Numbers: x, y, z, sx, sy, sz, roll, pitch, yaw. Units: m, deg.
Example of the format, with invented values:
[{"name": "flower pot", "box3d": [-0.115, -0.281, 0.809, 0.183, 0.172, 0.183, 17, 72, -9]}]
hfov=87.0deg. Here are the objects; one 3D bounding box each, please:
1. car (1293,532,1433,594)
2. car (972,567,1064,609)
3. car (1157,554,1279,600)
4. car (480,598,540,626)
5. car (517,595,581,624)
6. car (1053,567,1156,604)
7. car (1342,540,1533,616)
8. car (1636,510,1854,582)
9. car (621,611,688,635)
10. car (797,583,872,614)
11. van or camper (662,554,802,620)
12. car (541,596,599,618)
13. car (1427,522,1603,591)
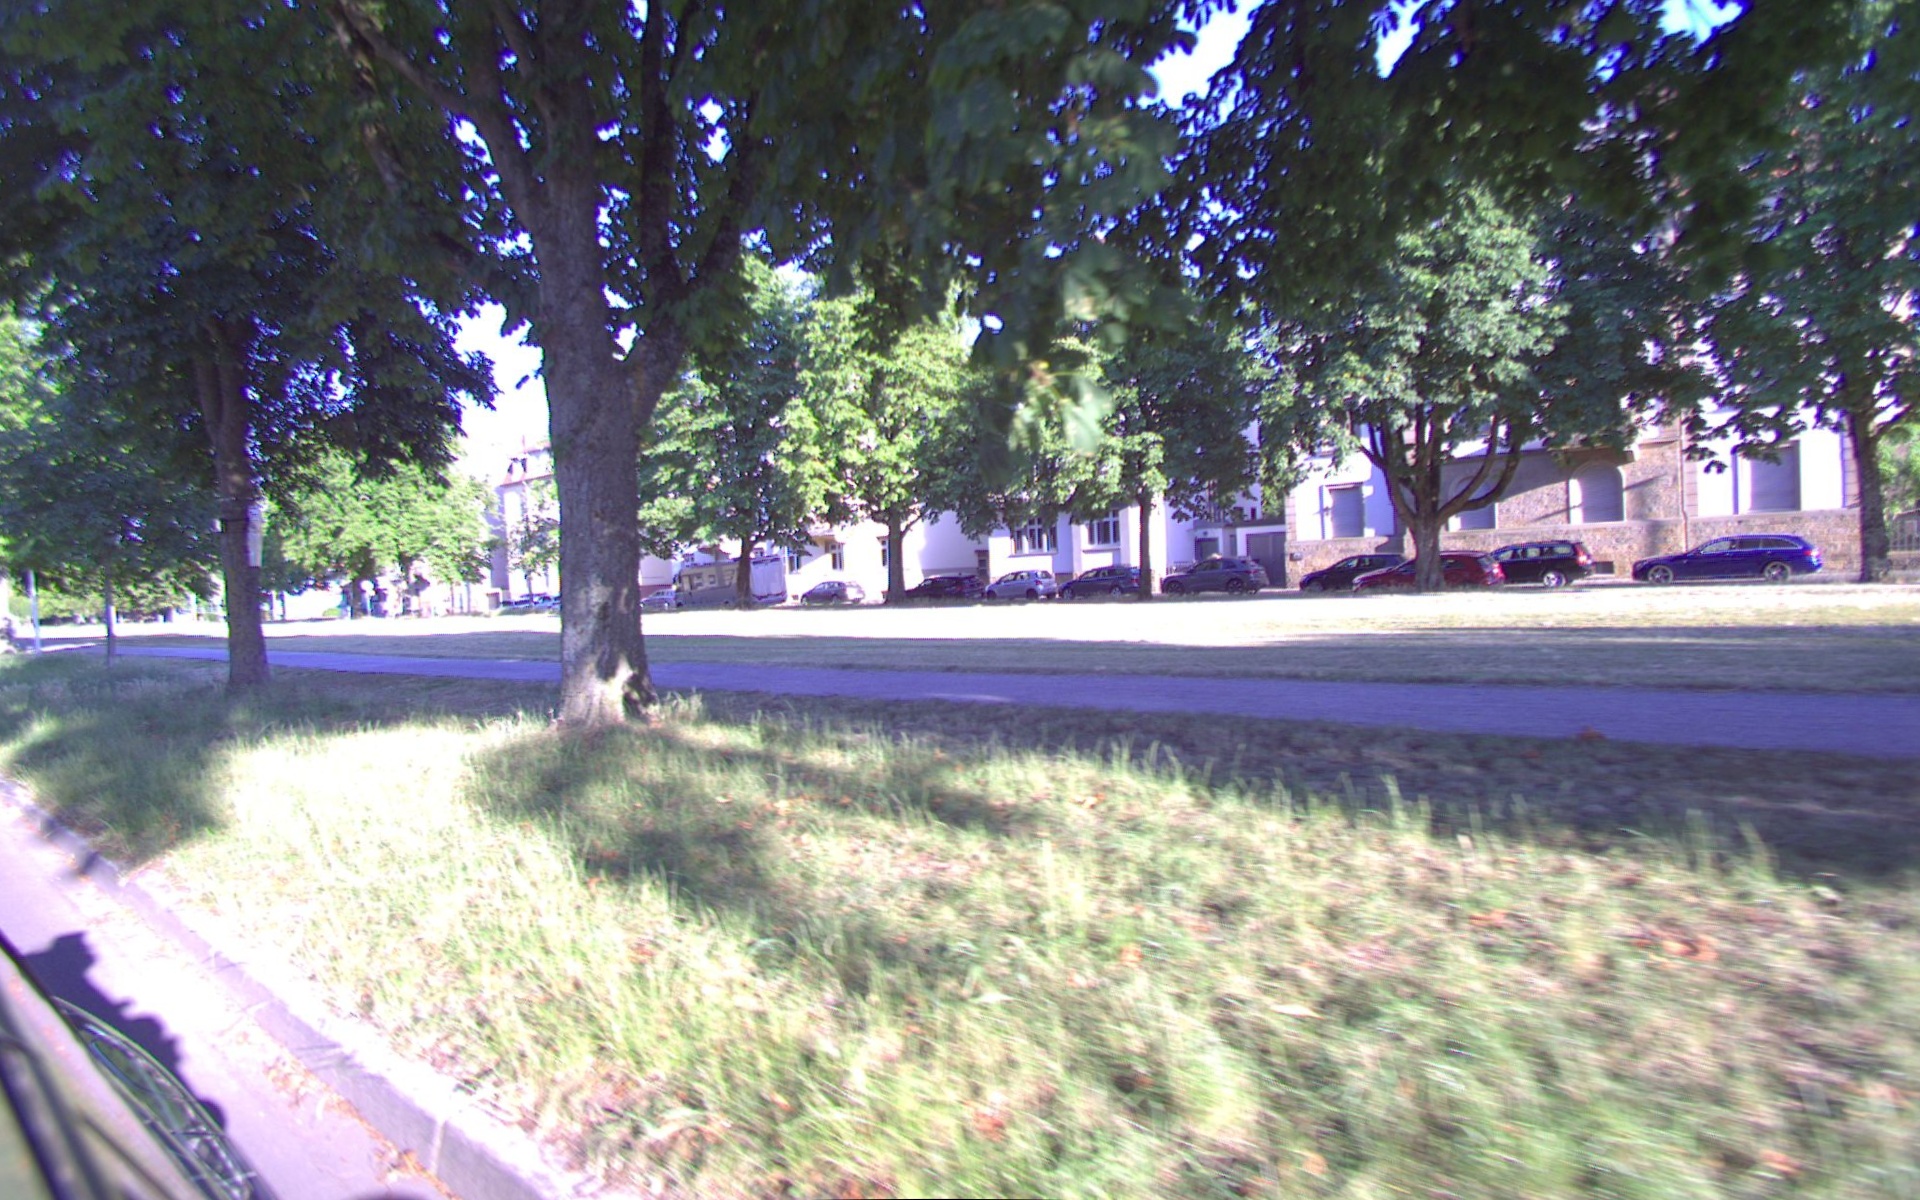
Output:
[{"name": "car", "box3d": [15.023, -1.370, 37.832, 4.425, 2.028, 1.974, -2, 2, 40]}, {"name": "car", "box3d": [2.764, -0.556, 48.726, 4.000, 1.747, 1.972, -2, 1, 43]}, {"name": "car", "box3d": [10.626, -0.941, 41.858, 4.425, 1.664, 1.974, -2, 2, 40]}, {"name": "car", "box3d": [-31.744, 0.851, 71.308, 4.874, 1.703, 1.973, -2, 2, 42]}, {"name": "car", "box3d": [-27.505, 0.673, 67.643, 4.874, 1.703, 1.973, -2, 2, 42]}, {"name": "car", "box3d": [6.502, -0.639, 45.825, 4.166, 1.440, 1.973, -3, 1, 41]}, {"name": "car", "box3d": [14.515, -0.636, 30.929, 4.875, 2.028, 1.972, -2, 2, 43]}, {"name": "car", "box3d": [23.463, -1.585, 30.502, 5.000, 1.763, 1.975, -3, 1, 37]}, {"name": "car", "box3d": [-20.973, 1.589, 69.387, 4.870, 1.464, 1.974, -2, 2, 39]}, {"name": "car", "box3d": [-7.169, -0.078, 57.547, 3.997, 1.475, 1.974, -2, 2, 41]}, {"name": "van or camper", "box3d": [-12.425, -0.639, 54.743, 7.893, 3.133, 3.221, -2, 2, 42]}, {"name": "car", "box3d": [-30.065, 0.567, 77.983, 4.870, 1.464, 1.974, -2, 2, 39]}, {"name": "car", "box3d": [18.844, -1.460, 34.503, 4.875, 2.028, 1.972, -2, 2, 43]}]
